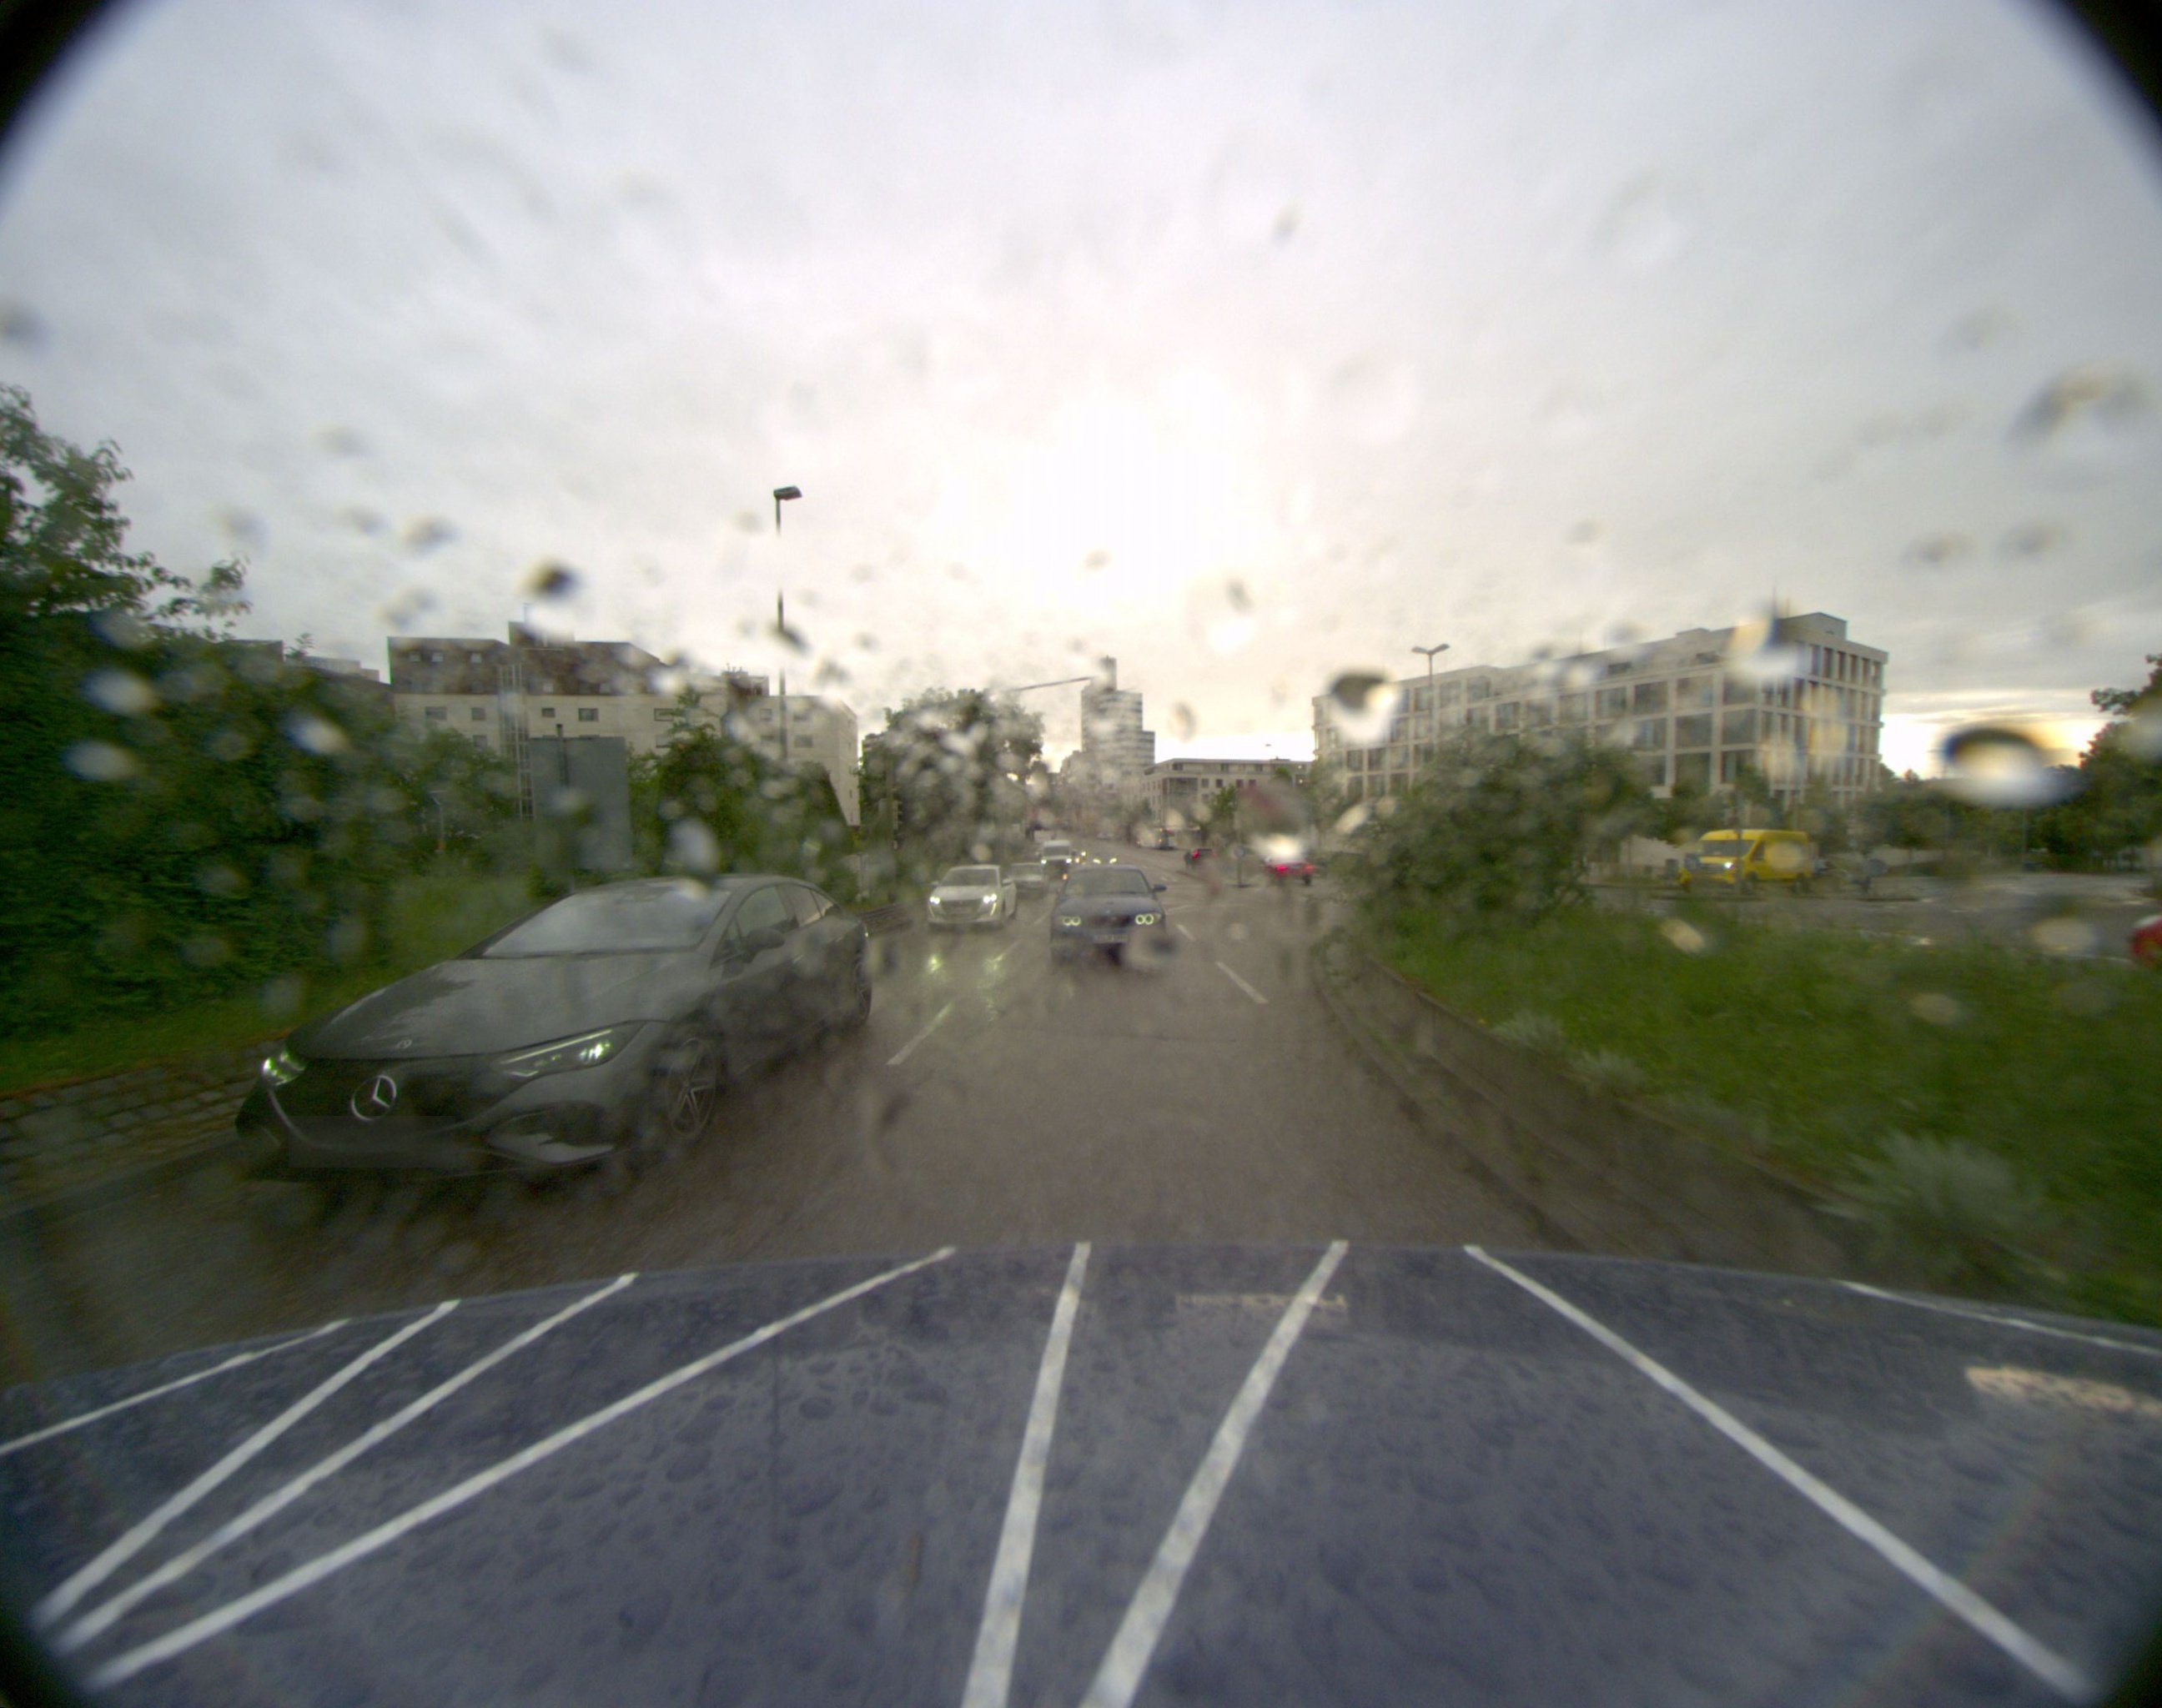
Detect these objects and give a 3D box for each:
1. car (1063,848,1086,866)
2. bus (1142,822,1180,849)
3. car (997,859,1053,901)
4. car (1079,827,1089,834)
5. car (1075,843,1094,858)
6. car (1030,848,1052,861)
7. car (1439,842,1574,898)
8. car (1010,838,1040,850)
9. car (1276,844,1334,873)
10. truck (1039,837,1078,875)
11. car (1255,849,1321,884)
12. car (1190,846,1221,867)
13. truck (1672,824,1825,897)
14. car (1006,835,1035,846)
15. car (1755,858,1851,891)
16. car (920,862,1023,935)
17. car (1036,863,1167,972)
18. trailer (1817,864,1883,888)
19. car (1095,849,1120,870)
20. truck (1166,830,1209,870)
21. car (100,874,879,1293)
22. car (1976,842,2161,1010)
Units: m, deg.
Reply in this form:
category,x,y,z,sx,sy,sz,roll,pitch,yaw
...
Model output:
category,x,y,z,sx,sy,sz,roll,pitch,yaw
car,-0.619,0.231,69.389,1.999,1.543,4.000,-2,0,0
bus,12.174,-2.876,117.908,2.952,3.972,18.218,0,1,-3
car,-2.158,0.987,30.333,1.718,1.369,3.734,-3,1,3
car,0.711,-5.364,171.929,1.818,1.421,3.942,-3,3,4
car,0.386,-0.357,83.998,1.999,1.543,4.000,-2,0,0
car,-4.337,0.006,83.287,1.998,1.344,3.803,1,1,3
car,12.926,0.425,23.401,1.998,1.569,4.000,0,1,1
car,-7.734,-1.392,105.096,3.999,1.412,1.998,-3,2,-7
car,12.374,0.222,42.231,1.955,1.470,4.294,1,1,0
truck,-1.447,0.049,51.864,2.168,2.426,6.199,-2,1,3
car,9.564,0.534,35.447,1.998,1.406,4.430,-1,2,2
car,9.716,0.160,59.465,1.907,1.543,4.074,0,1,2
truck,25.301,0.195,28.763,6.185,2.524,2.223,0,2,-28
car,-8.606,-1.910,107.658,3.999,1.412,1.701,-3,2,-7
car,31.296,0.852,32.903,4.363,1.310,1.860,0,2,-31
car,-2.547,0.991,18.640,1.718,1.389,4.035,-3,1,3
car,0.369,0.907,12.414,1.787,1.335,3.704,-2,1,3
trailer,35.604,0.997,35.182,2.290,0.973,1.604,0,2,-31
car,2.040,0.384,58.024,1.718,1.369,3.734,-3,1,3
truck,6.960,-0.294,50.324,2.168,2.426,6.199,-2,1,3
car,-3.019,1.009,5.386,1.836,1.436,4.550,-3,1,1
car,11.722,0.720,6.825,1.998,1.652,4.597,-1,1,2
